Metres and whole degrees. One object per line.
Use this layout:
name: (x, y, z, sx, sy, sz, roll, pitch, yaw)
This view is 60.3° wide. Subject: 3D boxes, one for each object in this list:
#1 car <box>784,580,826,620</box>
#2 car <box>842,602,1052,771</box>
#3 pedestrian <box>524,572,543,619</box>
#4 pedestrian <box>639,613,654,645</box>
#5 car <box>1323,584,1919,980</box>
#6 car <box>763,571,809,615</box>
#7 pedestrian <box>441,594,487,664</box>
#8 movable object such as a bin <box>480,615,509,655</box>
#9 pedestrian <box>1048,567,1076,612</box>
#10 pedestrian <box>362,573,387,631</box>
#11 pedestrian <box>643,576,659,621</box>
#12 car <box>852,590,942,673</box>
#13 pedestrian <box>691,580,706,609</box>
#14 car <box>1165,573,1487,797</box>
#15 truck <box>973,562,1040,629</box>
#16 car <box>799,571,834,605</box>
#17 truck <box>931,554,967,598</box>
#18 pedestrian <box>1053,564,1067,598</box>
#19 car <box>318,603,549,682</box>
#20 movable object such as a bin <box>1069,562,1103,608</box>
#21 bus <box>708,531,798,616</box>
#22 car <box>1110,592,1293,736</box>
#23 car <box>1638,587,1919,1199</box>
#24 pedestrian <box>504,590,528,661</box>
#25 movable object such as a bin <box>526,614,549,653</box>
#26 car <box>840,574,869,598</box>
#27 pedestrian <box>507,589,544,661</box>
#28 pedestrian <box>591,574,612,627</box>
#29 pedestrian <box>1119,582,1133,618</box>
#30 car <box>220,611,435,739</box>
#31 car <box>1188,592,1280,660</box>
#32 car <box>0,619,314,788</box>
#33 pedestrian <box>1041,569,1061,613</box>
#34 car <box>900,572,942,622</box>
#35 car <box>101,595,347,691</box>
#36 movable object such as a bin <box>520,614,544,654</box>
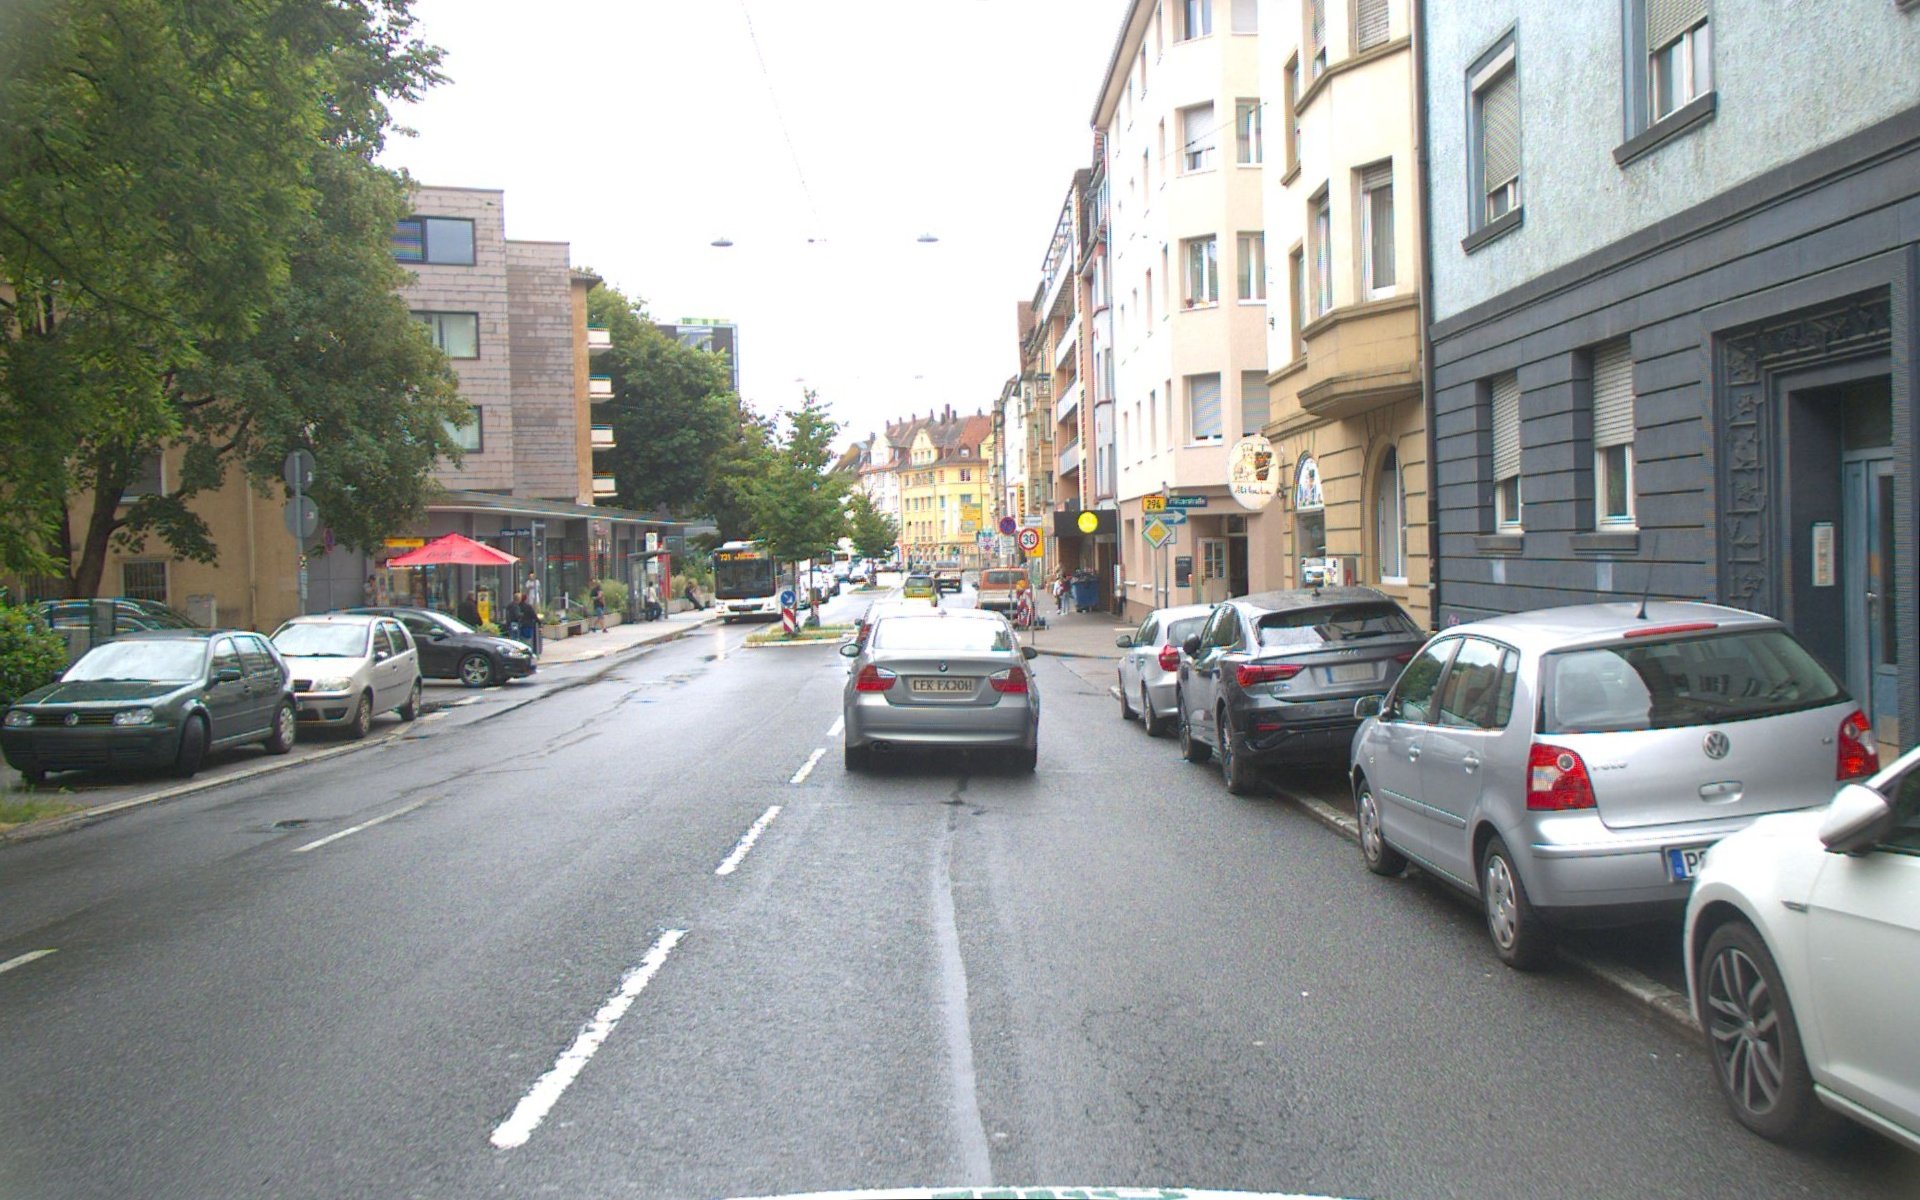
car: (-8.508, 0.010, 90.908, 1.953, 2.049, 3.998, 2, -1, -2)
car: (-0.131, 0.734, 15.183, 1.720, 1.386, 3.164, 0, -1, -1)
pedestrian: (-15.943, -0.158, 61.836, 0.649, 1.735, 0.657, 2, -1, -16)
pedestrian: (-12.608, 1.161, 66.451, 0.455, 1.252, 0.544, 2, -1, 0)
car: (3.068, 0.706, 8.333, 1.551, 1.454, 3.594, -4, 0, -1)
car: (-8.746, -0.328, 83.411, 1.953, 2.049, 3.998, 2, -1, -2)
pedestrian: (-12.721, 0.729, 42.458, 1.043, 1.761, 0.712, 0, 1, -11)
movable object such as a bin: (-12.851, 0.963, 45.666, 0.542, 1.100, 0.731, -2, -1, 0)
pedestrian: (3.948, -0.410, 63.804, 0.744, 1.690, 0.745, 2, -1, -36)
pedestrian: (-18.764, 0.061, 52.982, 0.626, 1.847, 0.632, -2, 1, -29)
pedestrian: (-12.121, -0.043, 64.972, 0.532, 1.739, 0.465, 2, -1, -7)
car: (-1.202, 0.583, 31.148, 1.570, 1.445, 3.286, 2, -1, -3)
pedestrian: (-12.813, -0.250, 80.969, 0.607, 1.402, 0.544, 2, -1, 0)
car: (3.003, 0.632, 14.513, 1.781, 1.585, 4.292, -3, 0, 0)
truck: (1.626, -0.136, 58.123, 2.170, 2.153, 4.652, 3, 0, 1)
car: (-9.181, -0.732, 105.825, 1.953, 2.049, 3.998, 2, -1, -2)
truck: (-0.731, -1.512, 106.000, 2.172, 2.589, 4.778, 2, -1, -2)
pedestrian: (5.051, -0.959, 83.564, 0.602, 1.690, 0.755, 1, -1, 5)
car: (-9.706, 0.780, 30.701, 3.739, 1.414, 1.742, 0, -1, -2)
movable object such as a bin: (4.931, -0.583, 64.976, 1.100, 1.732, 1.433, -2, -1, -3)
bus: (-8.705, -0.980, 70.969, 2.627, 3.257, 11.951, 2, -1, -2)
car: (2.823, 0.693, 20.099, 1.537, 1.489, 4.088, -3, 0, 0)
car: (3.154, 0.701, 3.480, 1.694, 1.454, 3.973, -4, 0, -1)
pedestrian: (-10.935, 0.626, 40.725, 0.458, 1.739, 0.541, 2, -1, -21)
movable object such as a bin: (-11.965, 0.946, 46.852, 0.480, 1.100, 0.606, -2, -1, 0)
car: (-9.420, -1.233, 147.887, 1.951, 2.049, 4.002, 1, -1, 4)
pedestrian: (-10.916, 0.624, 41.548, 0.729, 1.738, 0.676, -3, 1, -21)
pedestrian: (-12.555, 0.024, 57.948, 0.537, 1.821, 0.461, 2, -1, -30)
pedestrian: (5.834, -0.008, 58.292, 0.404, 1.223, 0.357, -3, 1, 2)
car: (-8.238, 0.918, 21.886, 1.600, 1.479, 3.836, -1, 0, -4)
car: (5.978, 0.573, 36.399, 1.406, 1.380, 3.762, 2, -1, 1)
car: (-8.337, 0.989, 17.433, 1.620, 1.479, 3.940, -1, 0, -2)
pedestrian: (3.607, -0.360, 65.461, 0.733, 1.690, 0.837, 1, -1, 5)
car: (-1.720, -0.108, 72.266, 1.671, 2.049, 3.997, 2, -1, -3)
car: (-13.552, 0.770, 30.597, 3.732, 1.609, 1.693, -1, 2, -2)
movable object such as a bin: (-11.943, 0.957, 46.188, 0.480, 1.100, 0.606, -2, -1, 0)
